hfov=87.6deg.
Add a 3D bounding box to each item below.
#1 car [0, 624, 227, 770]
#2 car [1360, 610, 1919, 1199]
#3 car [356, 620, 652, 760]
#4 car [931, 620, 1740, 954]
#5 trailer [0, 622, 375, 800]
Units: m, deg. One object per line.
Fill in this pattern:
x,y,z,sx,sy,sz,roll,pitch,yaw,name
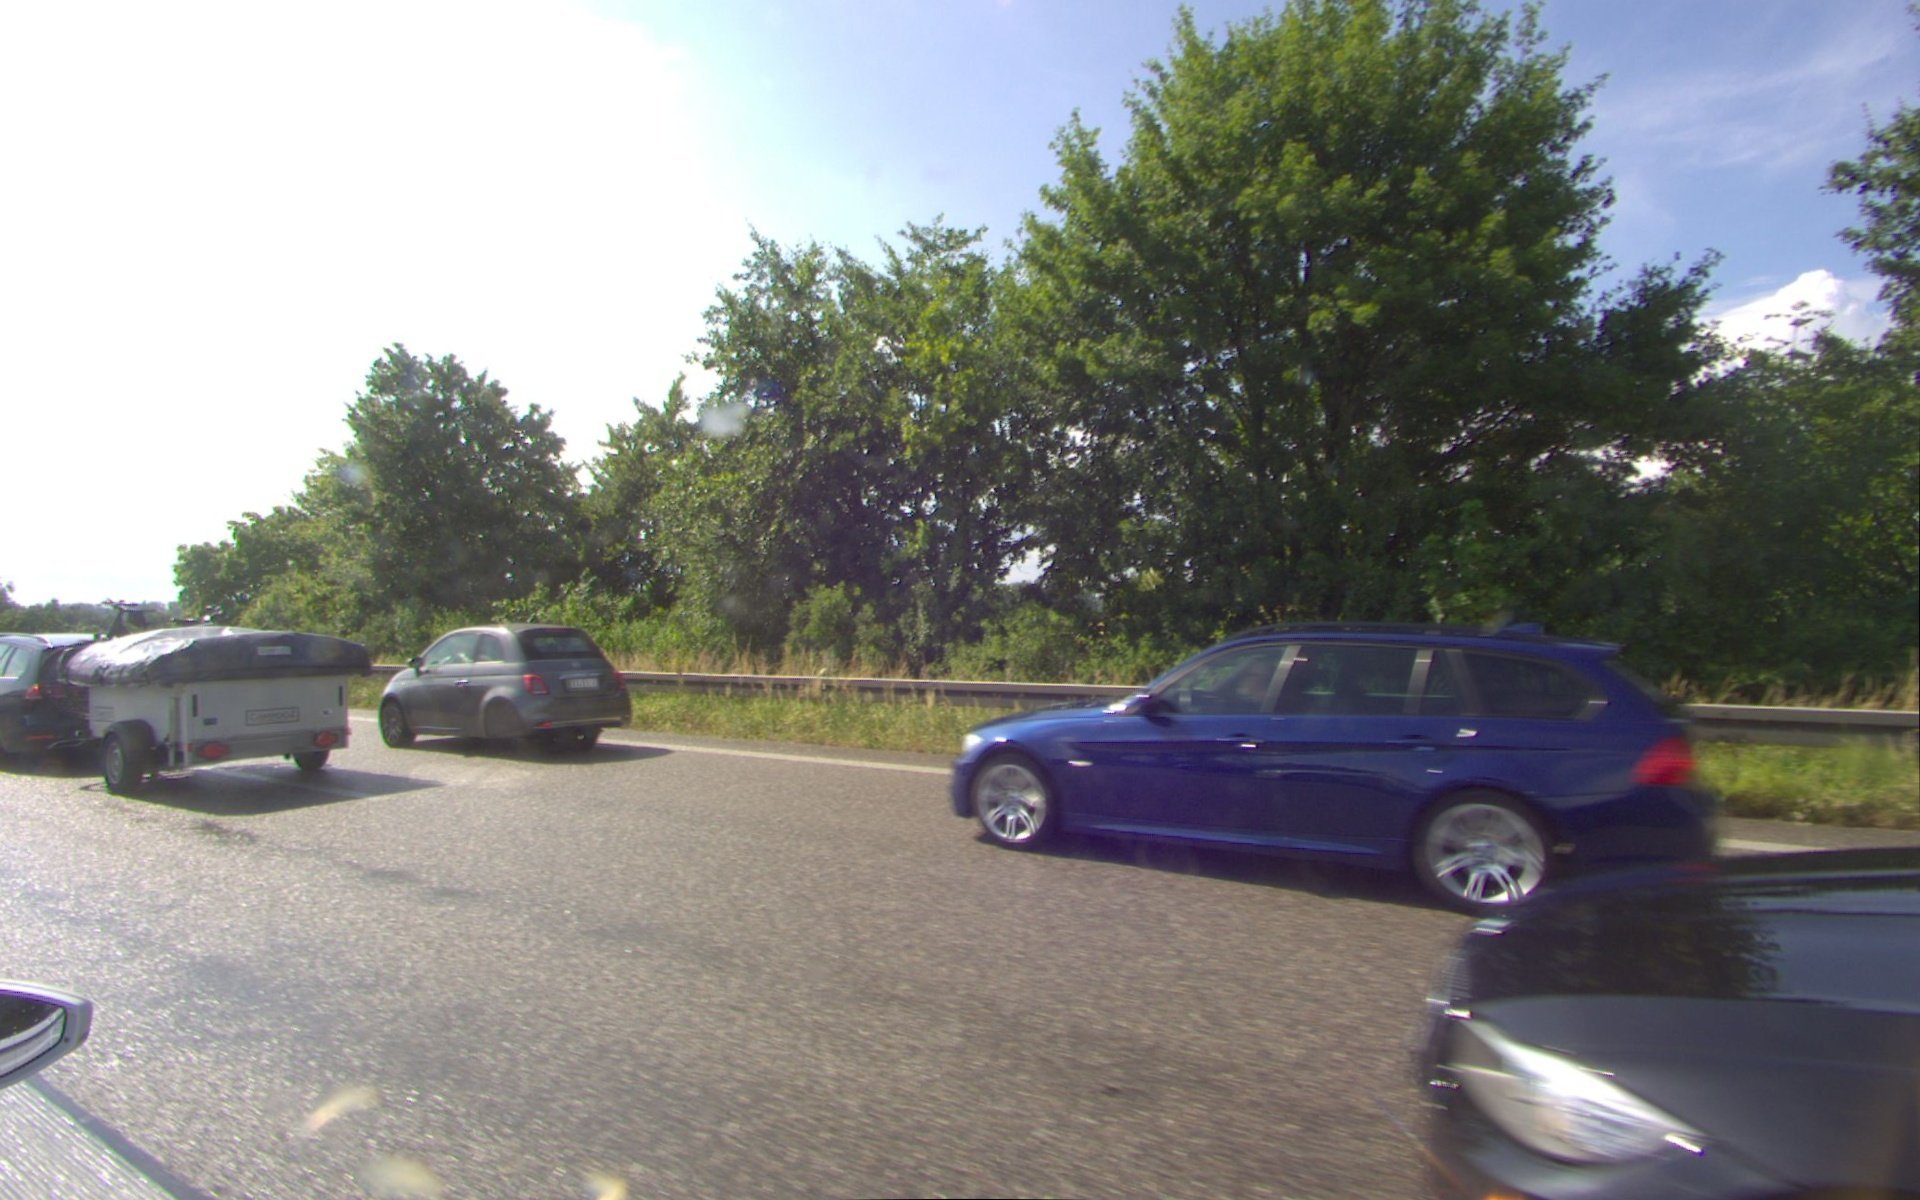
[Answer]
-10.770,1.026,11.983,4.198,1.460,1.851,-1,-1,33,car
2.674,0.723,1.272,3.781,1.439,1.737,-1,-1,33,car
-5.700,1.010,12.440,3.619,1.502,1.668,-1,-1,33,car
2.046,0.846,6.192,4.230,1.420,1.767,-1,-1,34,car
-7.969,0.970,10.178,4.089,1.460,1.851,-1,-1,33,trailer
